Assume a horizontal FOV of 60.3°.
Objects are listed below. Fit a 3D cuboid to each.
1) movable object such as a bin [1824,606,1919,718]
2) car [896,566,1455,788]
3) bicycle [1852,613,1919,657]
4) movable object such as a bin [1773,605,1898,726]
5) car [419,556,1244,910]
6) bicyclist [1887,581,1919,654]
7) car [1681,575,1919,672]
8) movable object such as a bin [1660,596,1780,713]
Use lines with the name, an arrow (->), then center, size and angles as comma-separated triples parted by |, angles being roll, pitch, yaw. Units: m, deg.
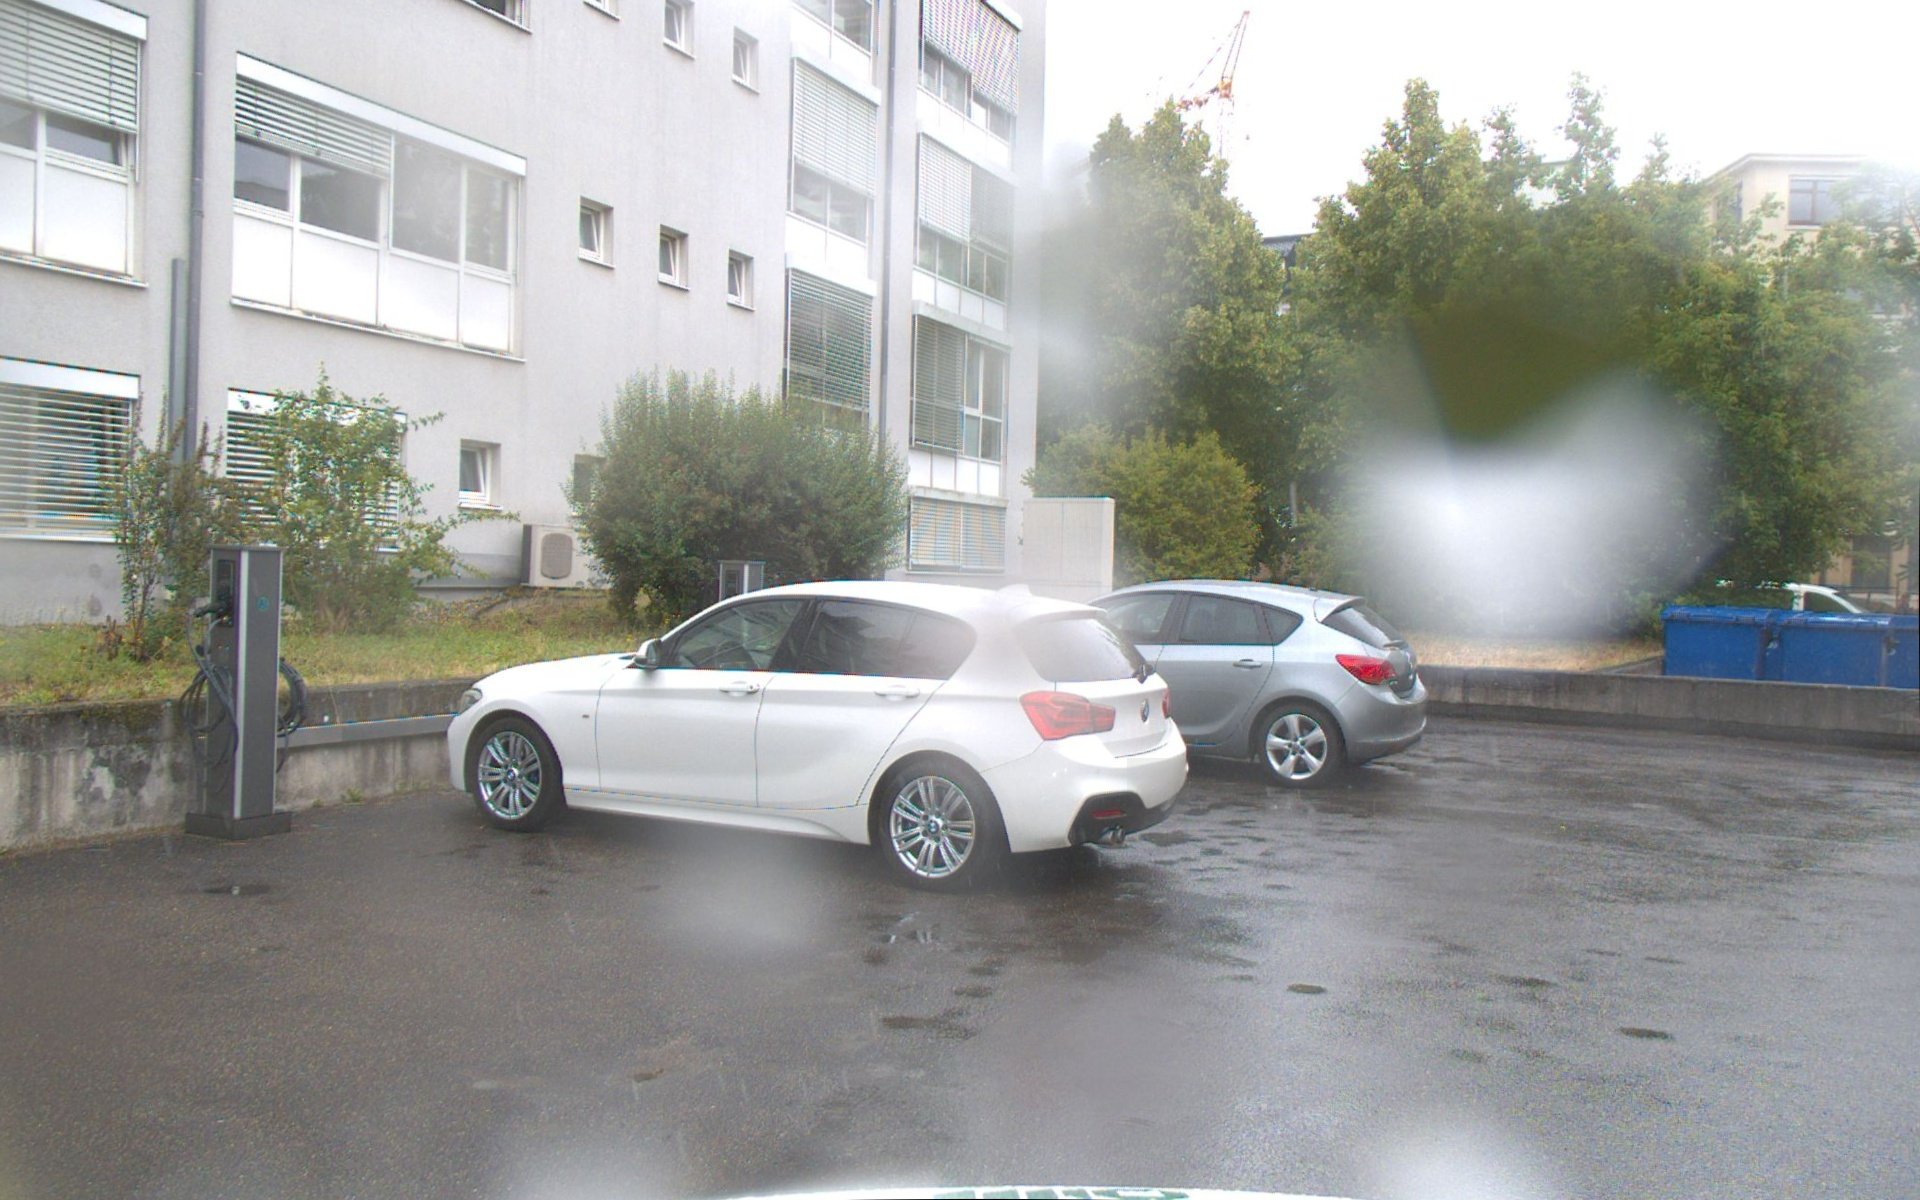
movable object such as a bin -> 11.999, 0.804, 21.508 | 1.285, 1.382, 1.901 | 0, -2, 30
car -> 1.770, 0.538, 13.644 | 4.126, 1.515, 1.998 | 2, 0, 27
bicycle -> 26.824, 0.993, 46.859 | 2.674, 1.207, 0.738 | 1, 1, 1
movable object such as a bin -> 10.639, 0.780, 20.071 | 1.285, 1.382, 1.901 | 0, -2, 30
car -> -0.725, 0.577, 9.206 | 4.126, 1.515, 1.998 | 2, 0, 27
bicyclist -> 26.832, 0.490, 46.851 | 0.692, 2.048, 0.746 | 1, 1, 1
car -> 18.025, 0.494, 35.248 | 4.599, 1.915, 2.117 | 0, -3, 33
movable object such as a bin -> 9.551, 0.679, 20.735 | 1.206, 1.382, 1.966 | 0, -2, 30
